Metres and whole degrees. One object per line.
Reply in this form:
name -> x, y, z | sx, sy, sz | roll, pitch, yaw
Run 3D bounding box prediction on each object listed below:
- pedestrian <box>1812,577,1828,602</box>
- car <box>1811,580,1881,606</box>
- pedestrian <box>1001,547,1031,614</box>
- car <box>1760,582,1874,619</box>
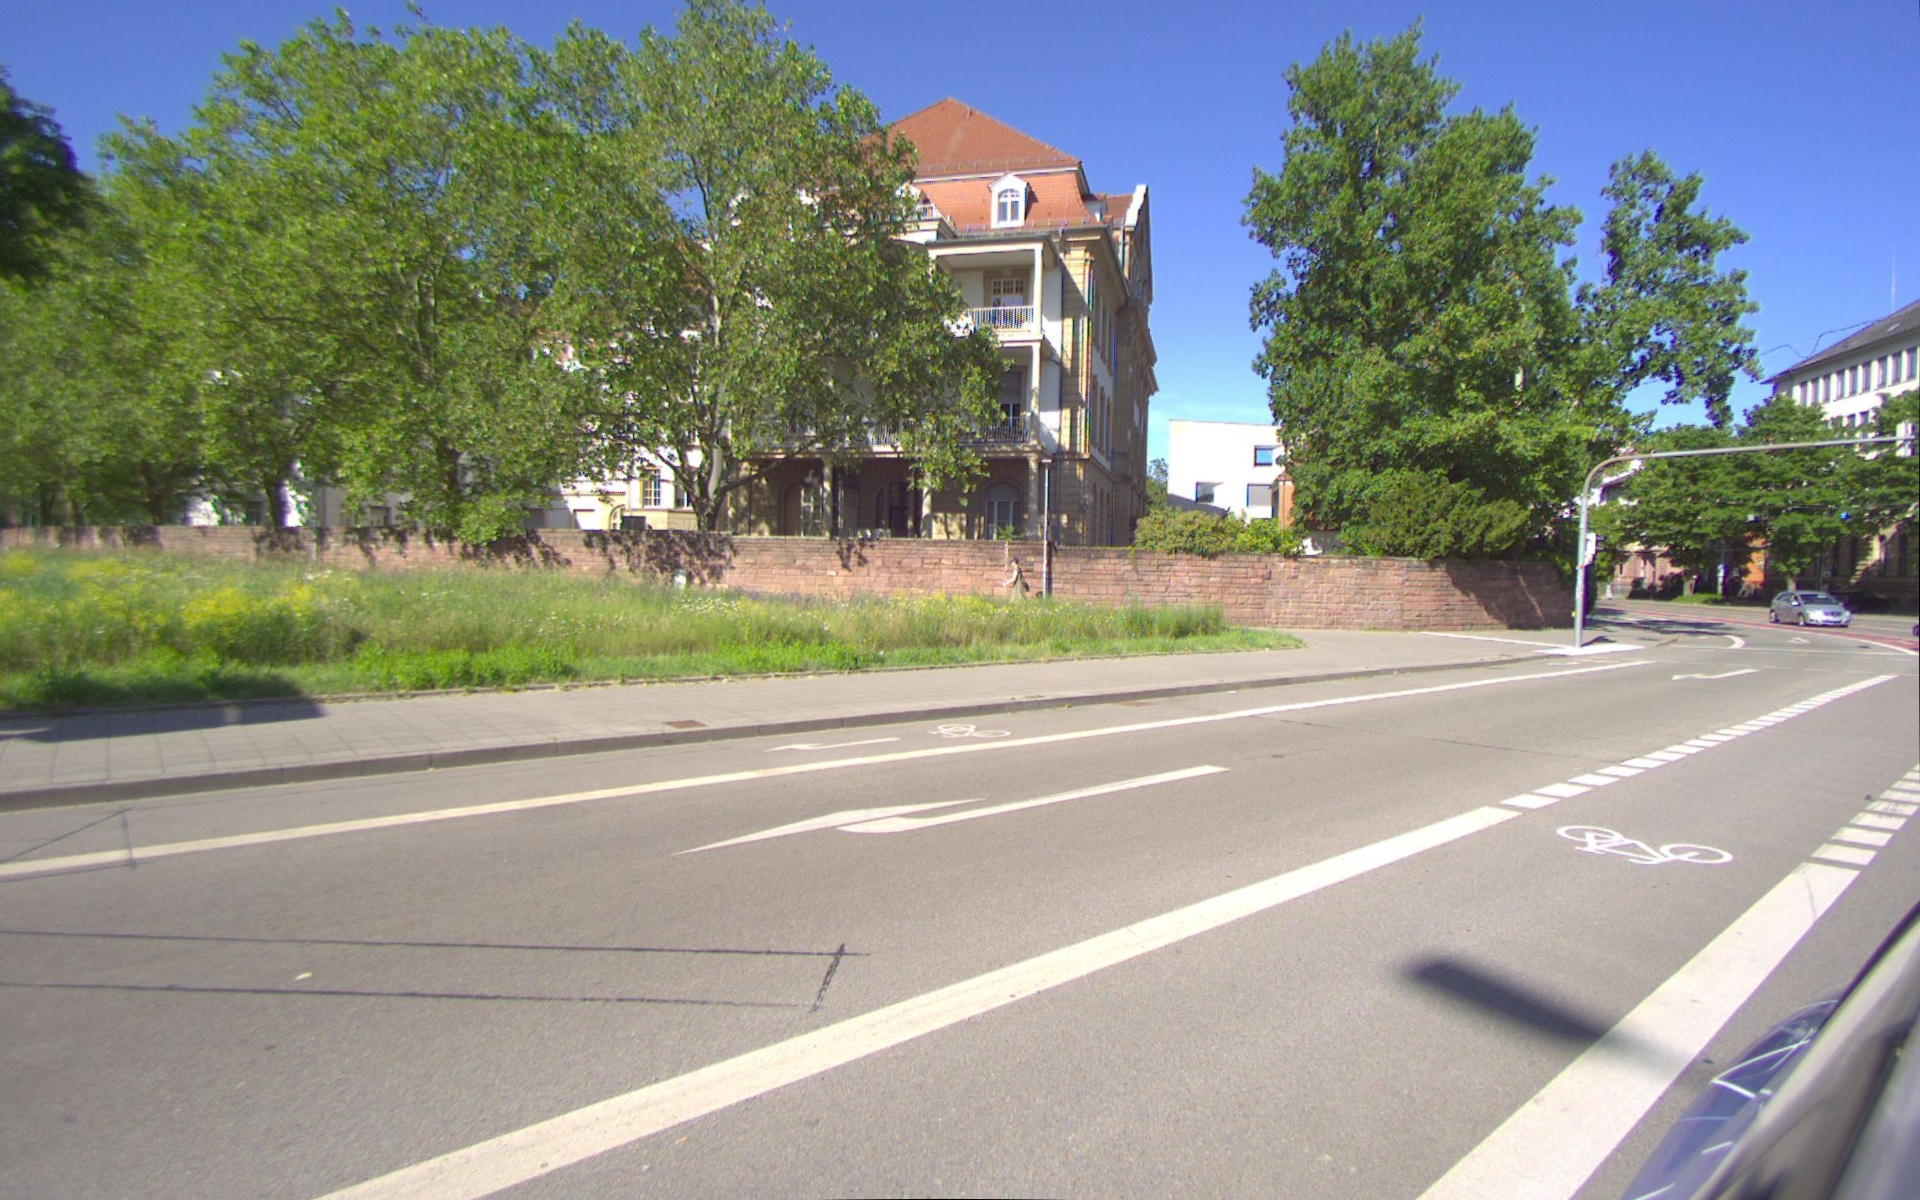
pedestrian -> 67.356, -0.809, 79.303 | 0.568, 1.927, 0.849 | 1, 1, 12
car -> 60.449, -0.517, 69.130 | 1.806, 1.615, 3.988 | 2, 2, 11
pedestrian -> 1.598, -0.554, 28.926 | 0.774, 1.881, 0.629 | 1, 1, 8
car -> 39.896, 0.000, 47.288 | 1.969, 1.610, 4.834 | 0, 0, 12
